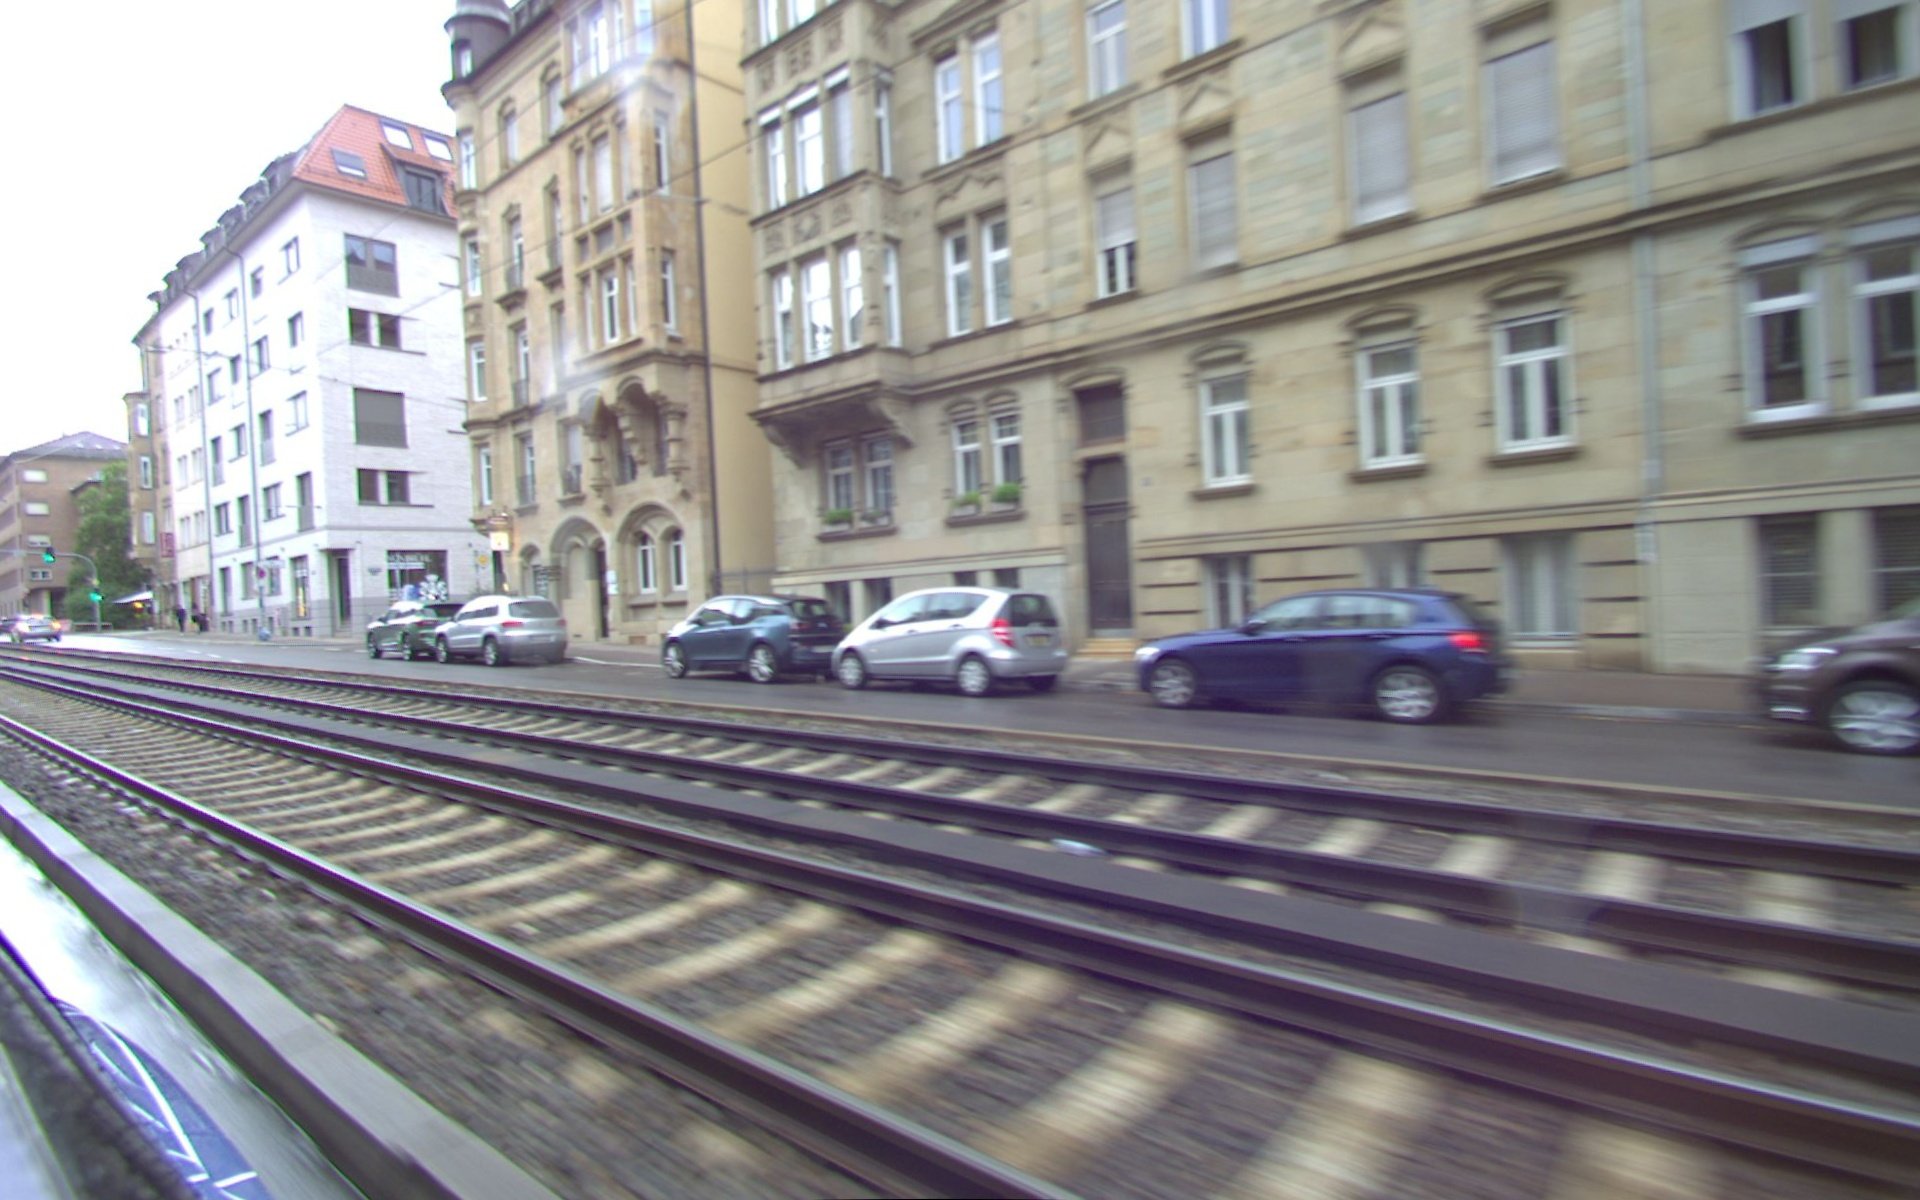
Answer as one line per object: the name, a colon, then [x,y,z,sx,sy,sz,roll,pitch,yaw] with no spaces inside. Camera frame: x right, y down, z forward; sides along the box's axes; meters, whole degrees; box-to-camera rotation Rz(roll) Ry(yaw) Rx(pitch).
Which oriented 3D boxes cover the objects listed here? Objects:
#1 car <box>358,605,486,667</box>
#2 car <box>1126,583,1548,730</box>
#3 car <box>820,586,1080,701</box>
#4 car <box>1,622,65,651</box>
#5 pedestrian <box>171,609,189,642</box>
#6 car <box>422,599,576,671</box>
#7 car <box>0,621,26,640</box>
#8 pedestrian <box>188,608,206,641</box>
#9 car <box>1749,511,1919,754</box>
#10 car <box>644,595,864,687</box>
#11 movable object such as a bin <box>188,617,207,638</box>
car: [-15.261,0.991,28.599,4.429,1.614,1.838,-2,-1,43]
car: [4.230,0.594,11.762,4.266,1.409,1.745,-2,-2,40]
car: [-0.237,0.628,15.509,3.853,1.535,1.677,-2,-2,41]
car: [-50.122,1.956,54.701,4.290,1.468,1.962,-1,-1,40]
pedestrian: [-42.063,1.394,54.574,0.746,1.731,0.595,-2,2,43]
car: [-11.677,0.860,25.530,4.311,1.665,1.840,-1,-1,40]
car: [-75.892,2.425,80.737,3.780,1.398,1.686,-2,-1,43]
pedestrian: [-41.560,1.331,55.133,0.658,1.731,0.595,-2,2,43]
car: [9.000,0.230,7.551,4.815,1.861,1.782,-2,-2,41]
car: [-3.912,0.713,18.871,4.166,1.519,1.851,-1,-1,41]
movable object such as a bin: [-42.810,1.530,56.827,0.563,1.088,0.623,-2,4,40]
